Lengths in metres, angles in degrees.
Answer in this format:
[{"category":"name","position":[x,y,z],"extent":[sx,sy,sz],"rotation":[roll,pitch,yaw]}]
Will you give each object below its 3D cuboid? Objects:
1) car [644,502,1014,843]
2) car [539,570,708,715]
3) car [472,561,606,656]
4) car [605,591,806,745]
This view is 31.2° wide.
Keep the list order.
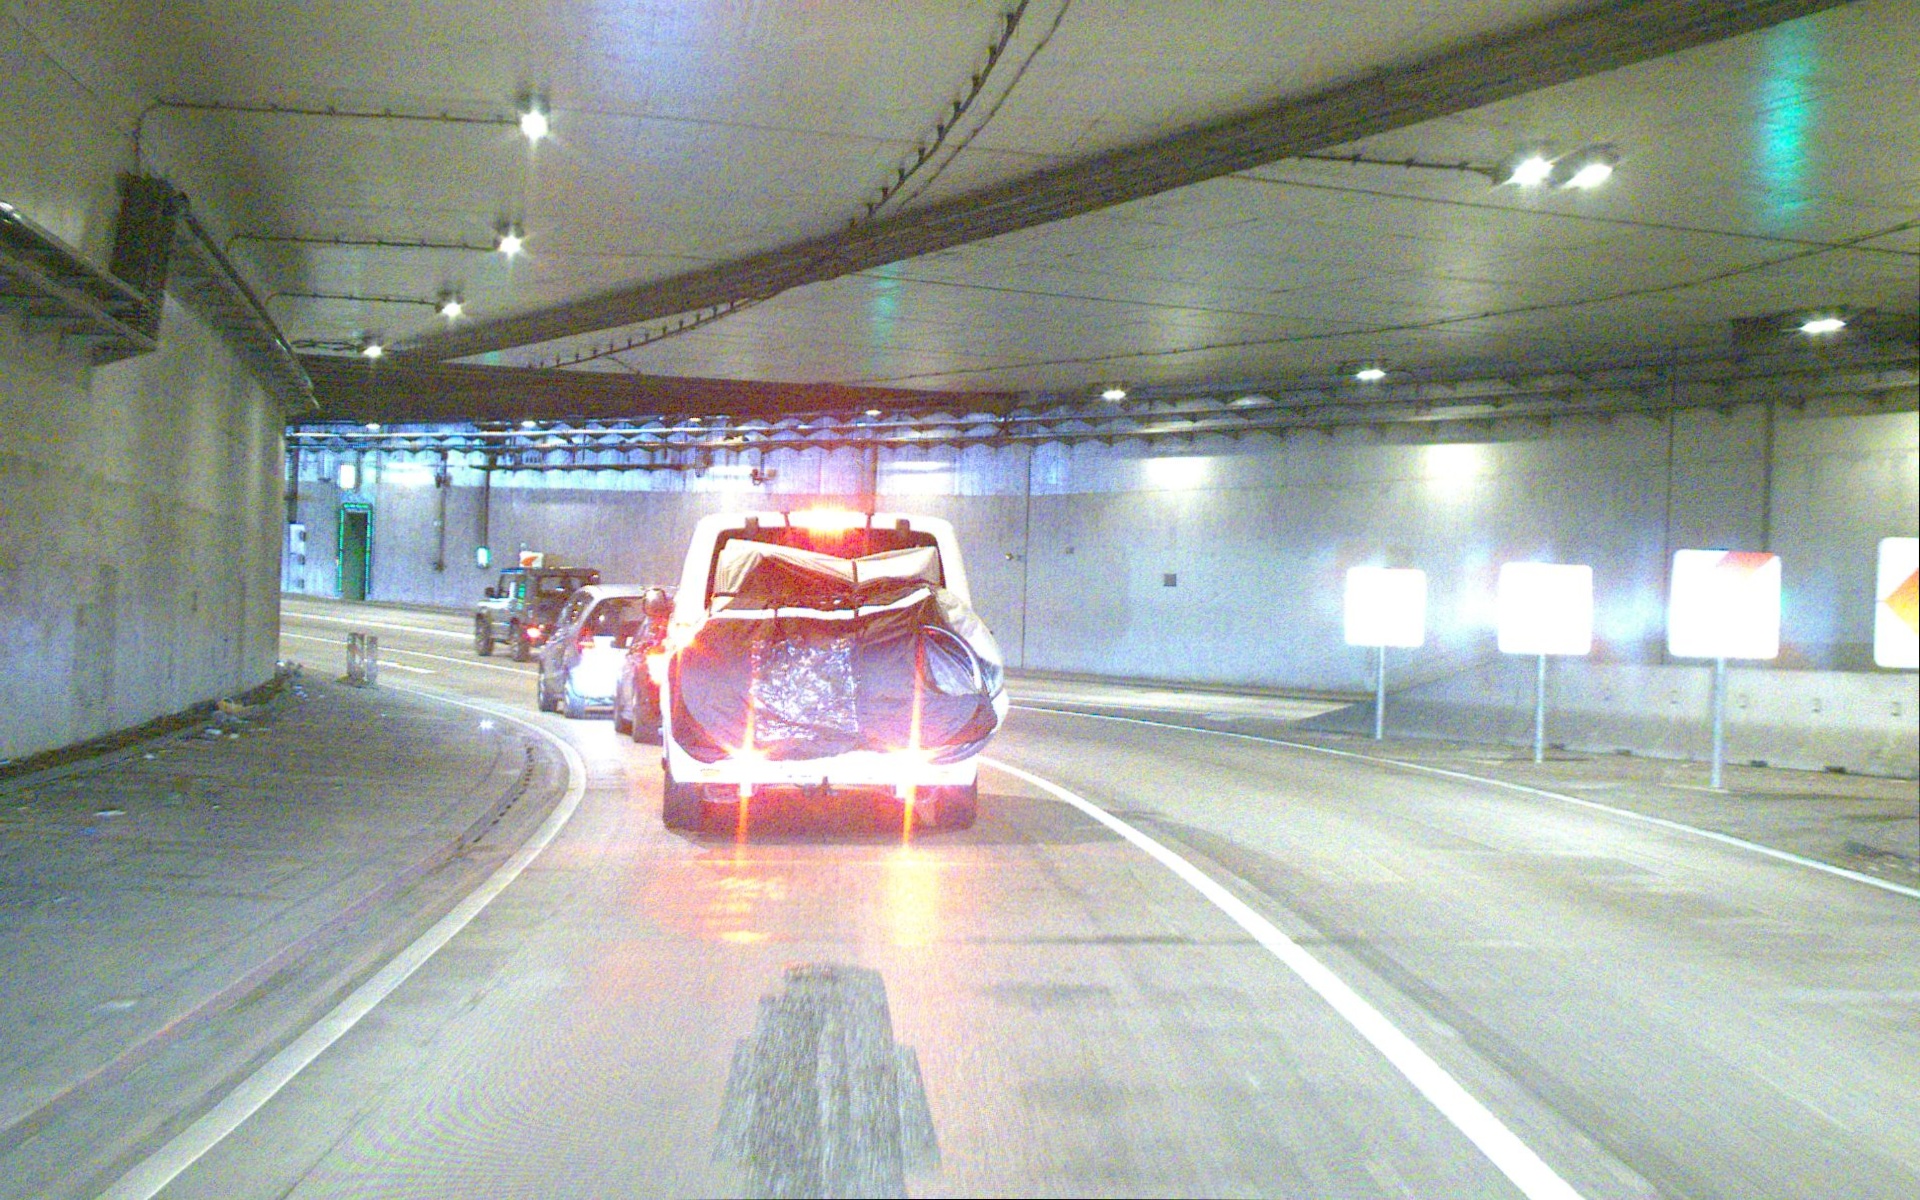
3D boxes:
[{"category":"car","position":[-0.920,0.398,21.263],"extent":[1.993,1.841,5.302],"rotation":[0,0,-5]},{"category":"car","position":[-4.052,0.520,40.992],"extent":[1.602,1.589,3.356],"rotation":[3,-2,-11]},{"category":"car","position":[-7.654,0.130,62.348],"extent":[1.602,1.624,3.356],"rotation":[-2,1,-21]},{"category":"car","position":[-2.492,0.628,33.097],"extent":[1.602,1.391,3.278],"rotation":[1,0,-10]}]
